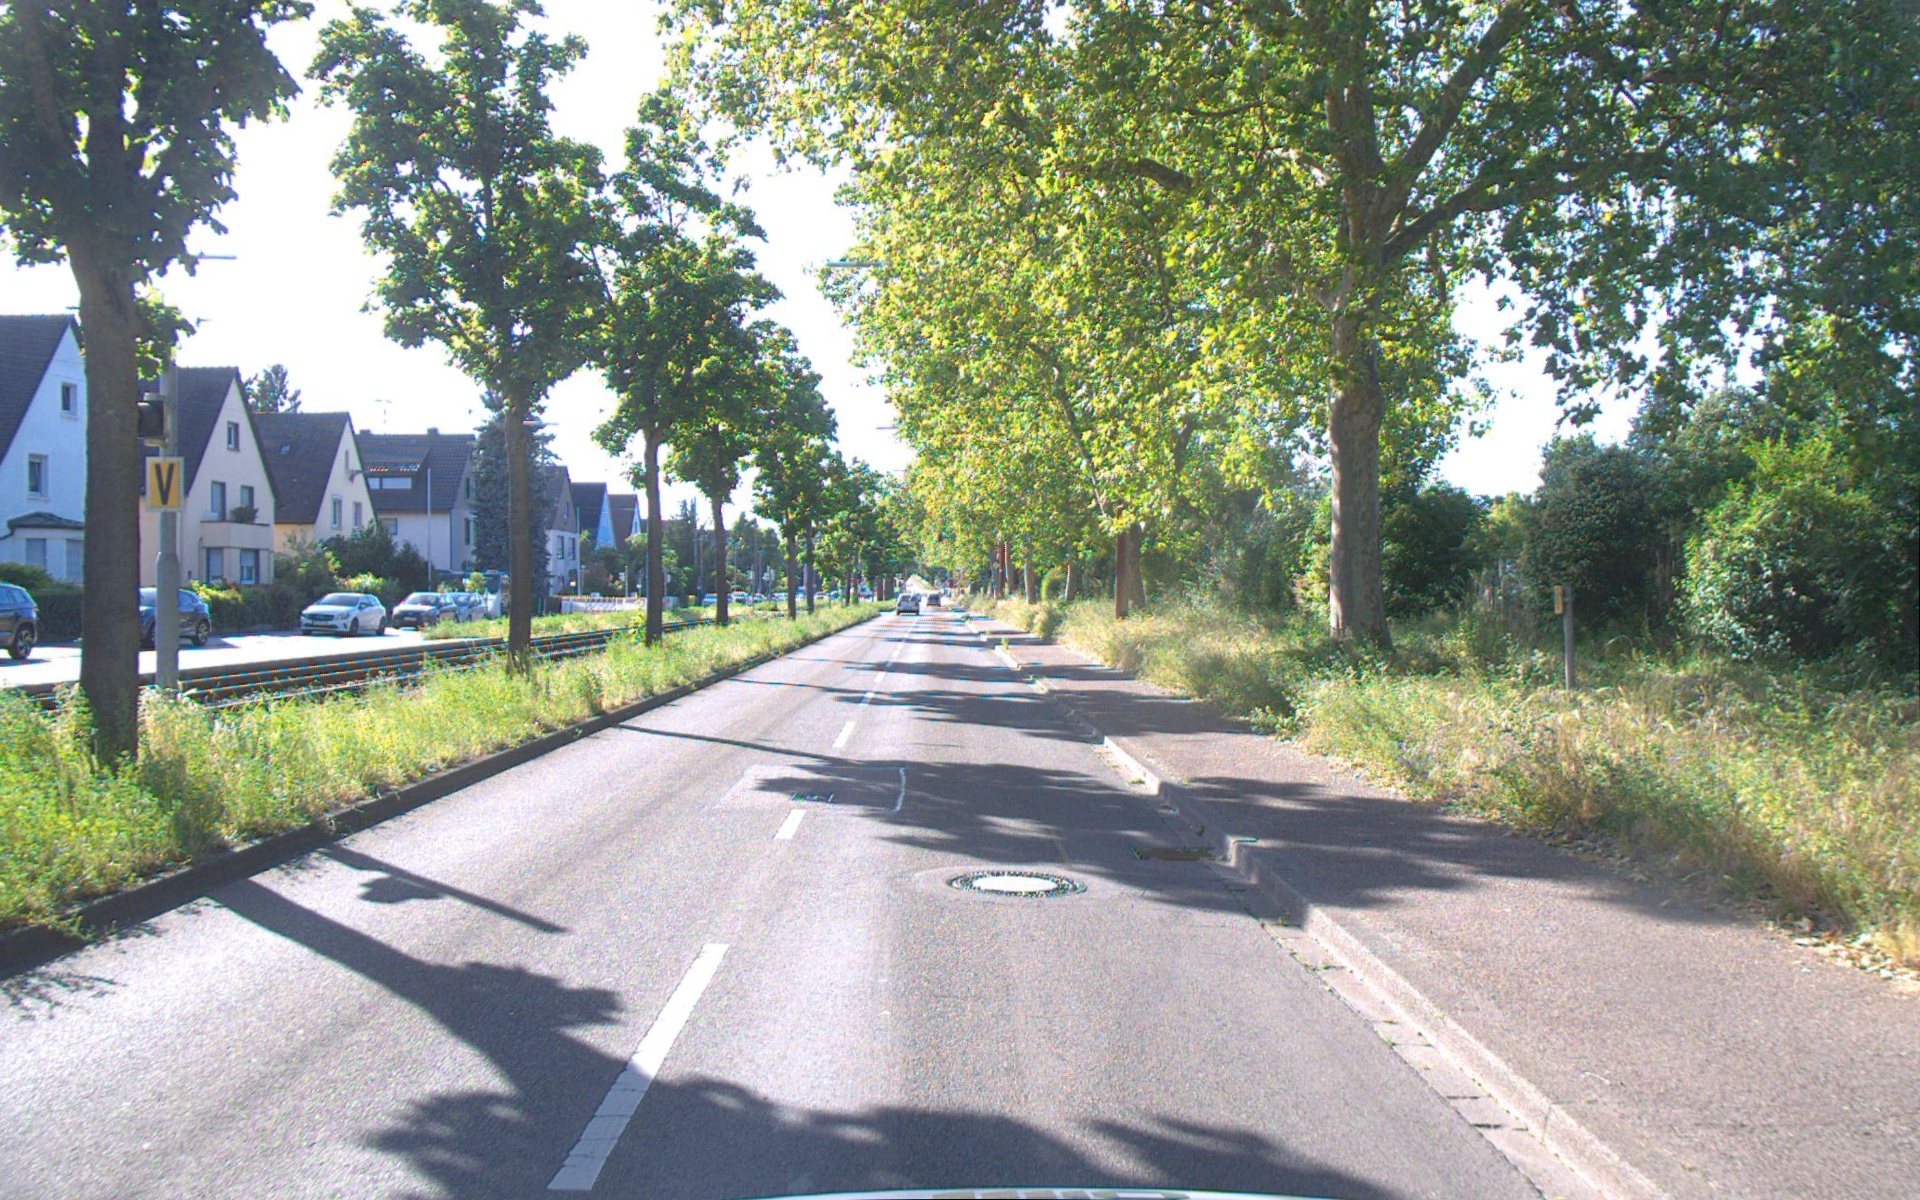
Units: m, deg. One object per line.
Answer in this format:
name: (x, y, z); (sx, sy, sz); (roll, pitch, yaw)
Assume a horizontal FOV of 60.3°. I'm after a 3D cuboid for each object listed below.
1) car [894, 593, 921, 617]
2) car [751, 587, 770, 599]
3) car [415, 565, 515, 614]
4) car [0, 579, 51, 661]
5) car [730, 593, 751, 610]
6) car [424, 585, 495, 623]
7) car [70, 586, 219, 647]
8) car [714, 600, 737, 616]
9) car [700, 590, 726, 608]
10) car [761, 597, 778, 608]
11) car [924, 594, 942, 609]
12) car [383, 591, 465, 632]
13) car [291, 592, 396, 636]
car: (-3.674, 0.352, 116.187); (1.822, 1.629, 4.227); (1, 0, -1)
car: (-23.561, -0.805, 195.365); (1.822, 1.393, 4.227); (1, 0, -1)
car: (-27.727, -0.597, 92.749); (4.926, 2.671, 2.102); (0, 1, -1)
car: (-21.372, 0.398, 34.909); (1.953, 1.743, 4.390); (1, 0, -1)
car: (-23.344, 0.170, 176.252); (1.712, 1.679, 4.554); (1, 0, -1)
car: (-21.731, 0.163, 71.963); (1.907, 1.580, 4.055); (1, 0, -1)
car: (-21.530, 0.417, 43.859); (1.887, 1.521, 4.255); (1, 0, -1)
car: (-23.317, 0.786, 164.628); (1.694, 1.491, 4.601); (1, 0, -1)
car: (-23.230, -0.083, 155.720); (1.822, 1.569, 4.227); (1, 0, -1)
car: (-24.673, 0.289, 213.936); (1.822, 1.438, 4.157); (1, 0, -1)
car: (-3.097, 0.197, 189.541); (1.953, 1.631, 4.472); (1, 0, -1)
car: (-21.671, 0.459, 67.016); (1.953, 1.475, 4.127); (3, 0, -1)
car: (-21.642, 0.464, 58.260); (1.952, 1.451, 4.410); (1, 0, 1)
